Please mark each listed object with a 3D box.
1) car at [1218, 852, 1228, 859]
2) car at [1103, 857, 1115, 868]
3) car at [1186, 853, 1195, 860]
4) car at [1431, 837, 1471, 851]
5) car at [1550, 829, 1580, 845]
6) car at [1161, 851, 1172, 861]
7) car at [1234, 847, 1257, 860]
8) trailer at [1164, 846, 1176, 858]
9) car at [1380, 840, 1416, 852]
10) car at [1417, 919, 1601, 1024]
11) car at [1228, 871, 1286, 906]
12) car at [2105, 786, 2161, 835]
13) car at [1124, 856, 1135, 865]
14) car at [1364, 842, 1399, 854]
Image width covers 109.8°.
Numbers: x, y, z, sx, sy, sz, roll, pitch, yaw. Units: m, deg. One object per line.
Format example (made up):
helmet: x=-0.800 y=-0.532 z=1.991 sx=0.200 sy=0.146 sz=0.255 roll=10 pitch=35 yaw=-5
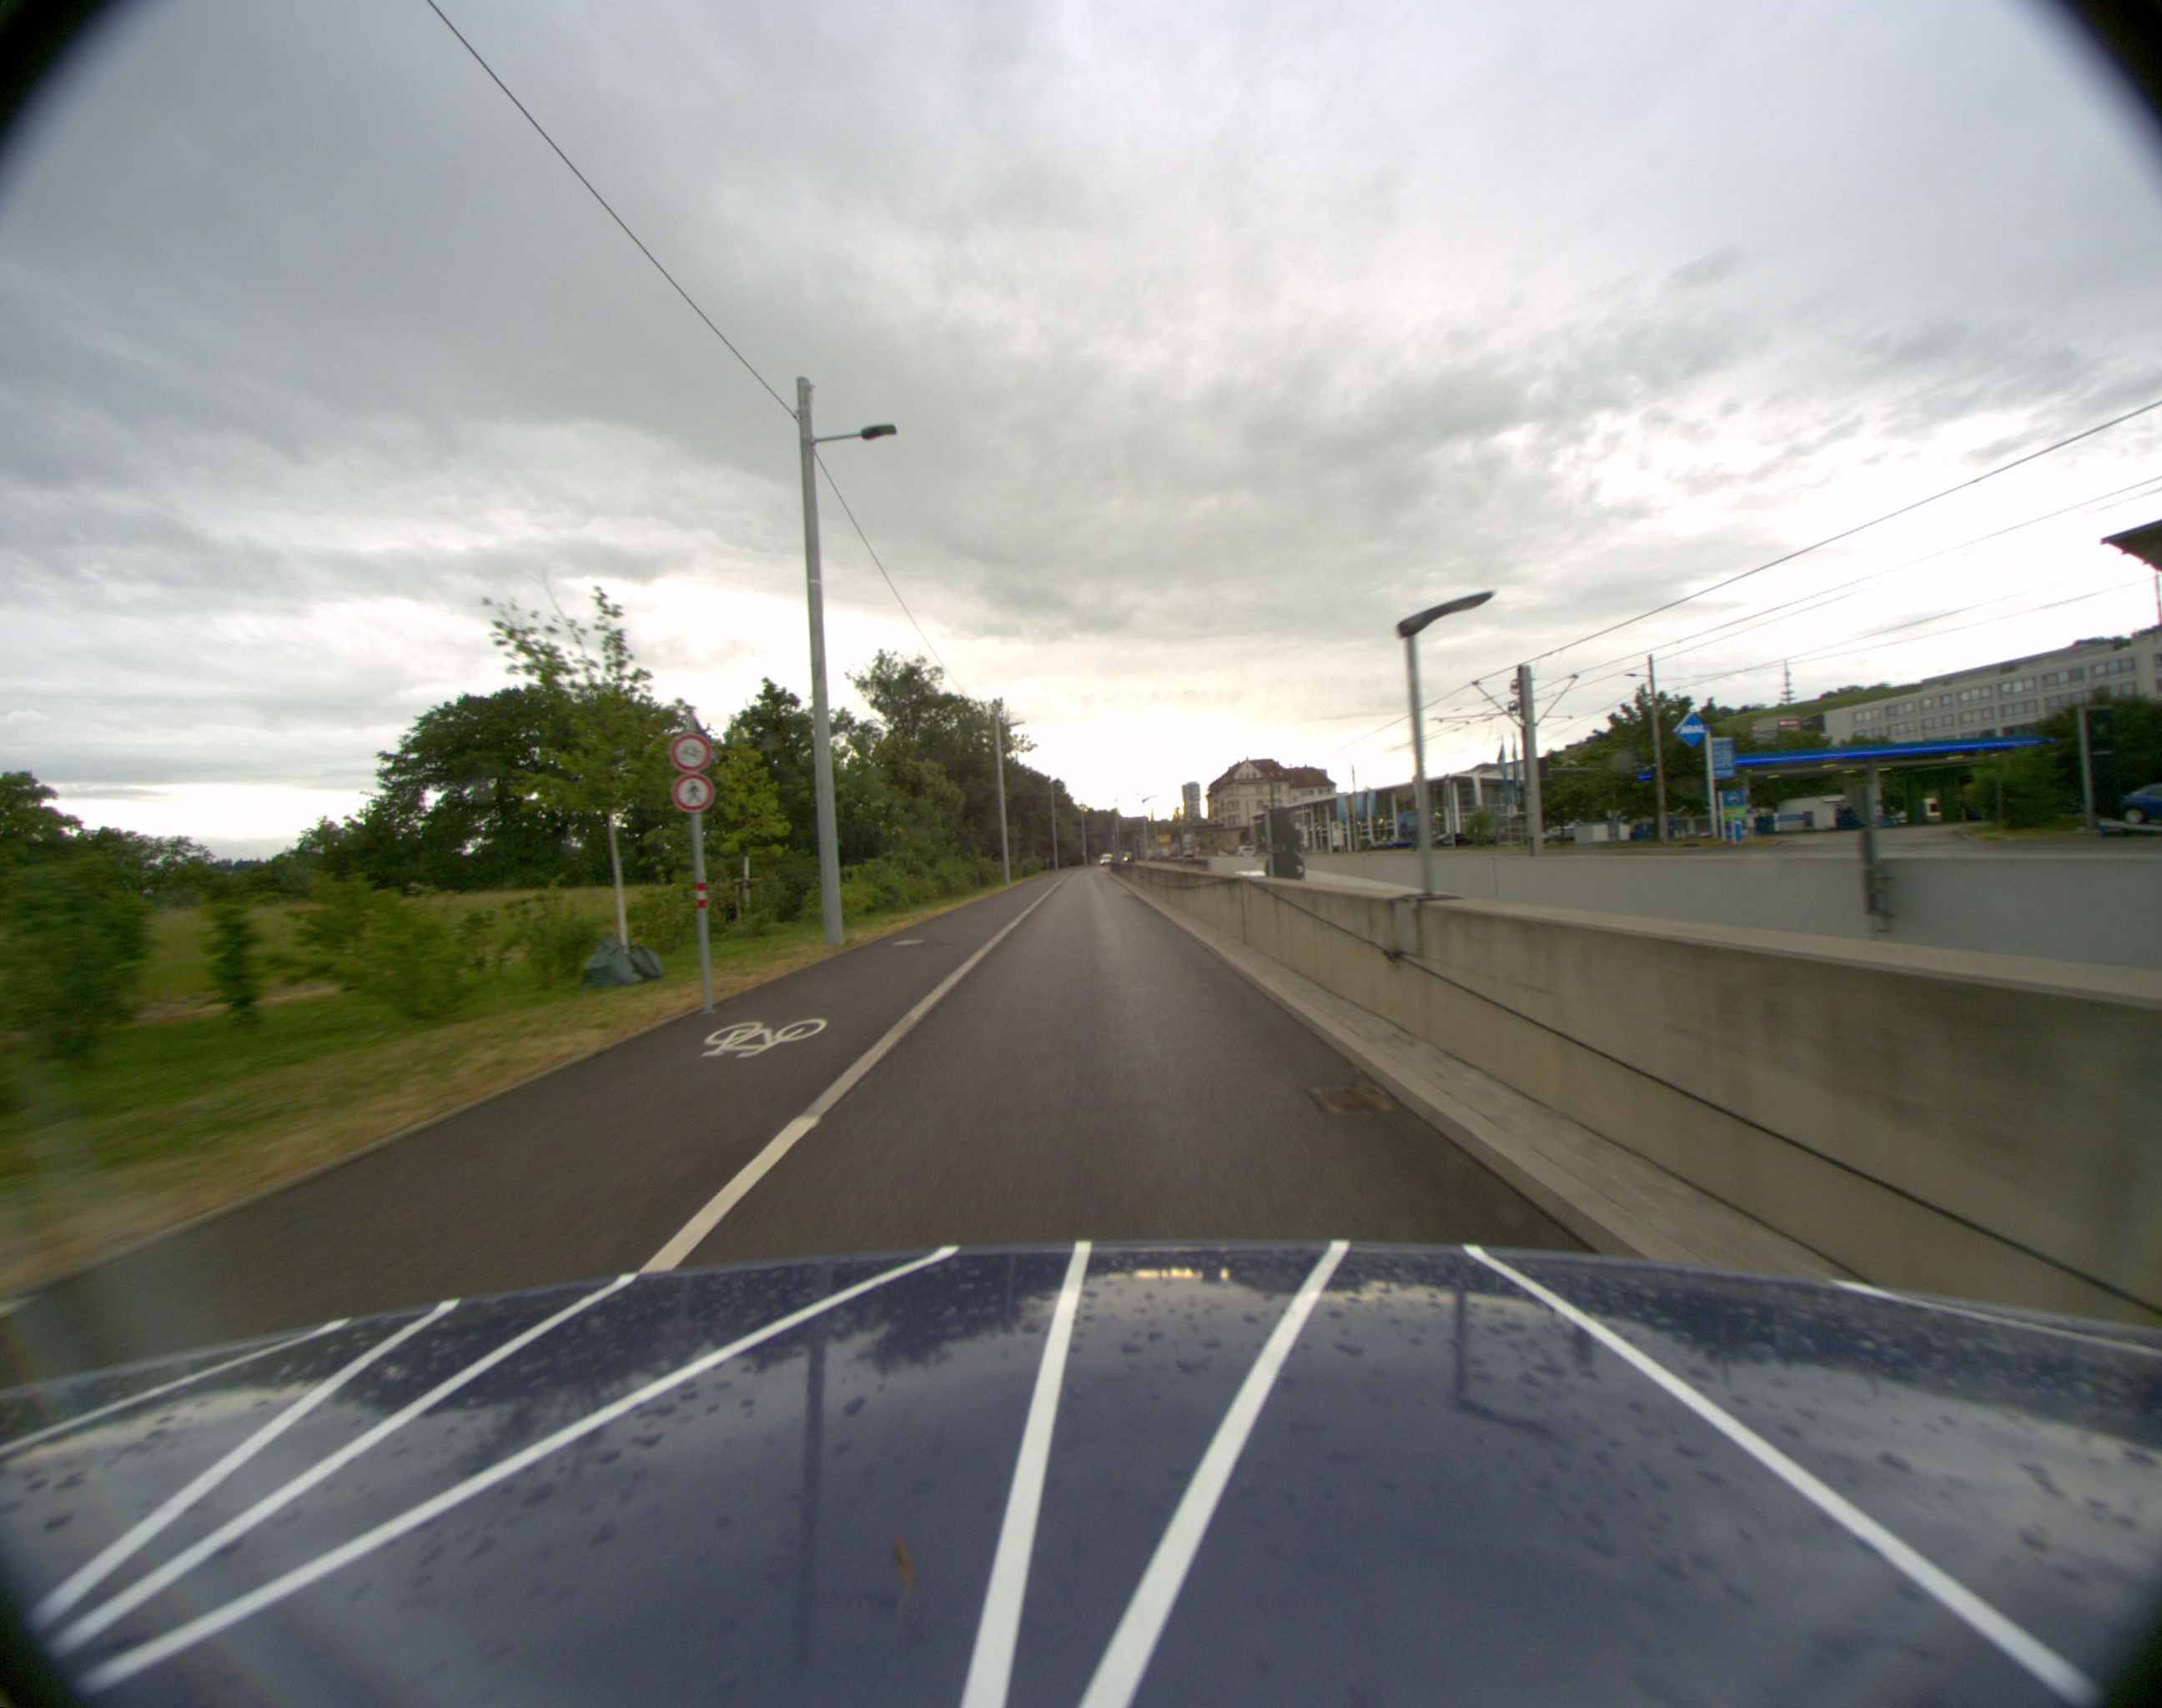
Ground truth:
car: x=27.759 y=0.244 z=148.301 sx=1.385 sy=1.292 sz=2.801 roll=-4 pitch=0 yaw=0
car: x=4.274 y=1.261 z=116.911 sx=1.710 sy=1.585 sz=4.000 roll=-3 pitch=0 yaw=1
car: x=27.166 y=0.611 z=188.846 sx=1.746 sy=1.506 sz=4.340 roll=-3 pitch=0 yaw=0
car: x=40.134 y=-1.056 z=82.459 sx=3.523 sy=1.267 sz=1.717 roll=-4 pitch=0 yaw=5
car: x=52.236 y=-1.835 z=82.044 sx=1.385 sy=1.563 sz=2.801 roll=-4 pitch=0 yaw=-1
car: x=24.051 y=0.483 z=213.732 sx=2.056 sy=2.583 sz=6.165 roll=-4 pitch=0 yaw=0
car: x=23.445 y=-0.071 z=108.343 sx=2.006 sy=1.685 sz=5.035 roll=-3 pitch=0 yaw=0
trailer: x=30.567 y=-0.619 z=261.546 sx=2.690 sy=4.027 sz=9.083 roll=-3 pitch=0 yaw=0
car: x=39.441 y=-1.044 z=94.622 sx=4.003 sy=1.228 sz=1.758 roll=-3 pitch=1 yaw=-20
car: x=8.870 y=2.367 z=16.164 sx=1.708 sy=1.564 sz=3.896 roll=-3 pitch=0 yaw=1
car: x=9.097 y=1.752 z=39.591 sx=1.982 sy=1.564 sz=4.319 roll=-3 pitch=0 yaw=1
car: x=39.131 y=-1.495 z=26.442 sx=1.765 sy=1.601 sz=4.066 roll=-4 pitch=4 yaw=8
car: x=8.777 y=1.193 z=137.124 sx=1.710 sy=1.521 sz=4.000 roll=-3 pitch=0 yaw=1
car: x=38.325 y=-0.782 z=96.872 sx=4.003 sy=1.227 sz=1.701 roll=-4 pitch=-2 yaw=-20
